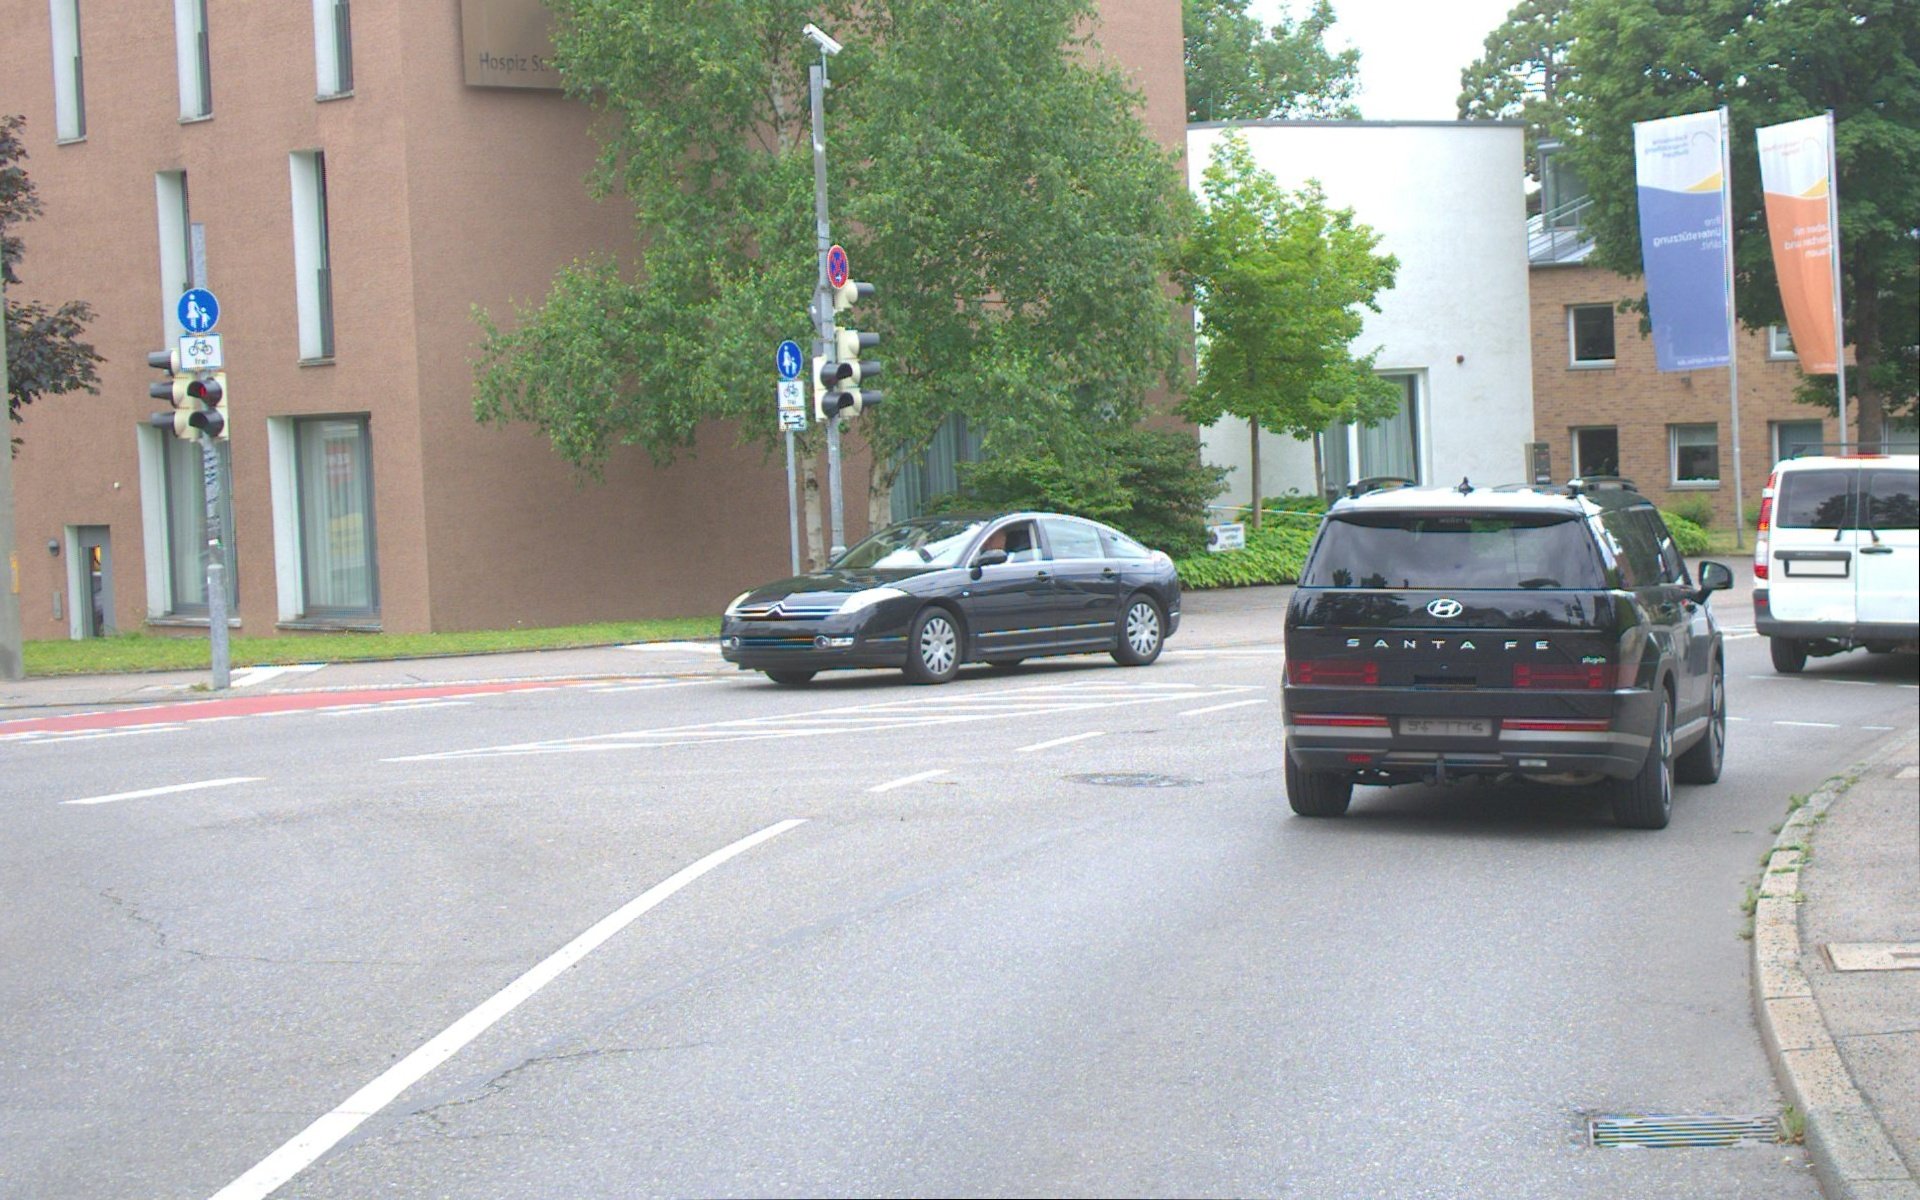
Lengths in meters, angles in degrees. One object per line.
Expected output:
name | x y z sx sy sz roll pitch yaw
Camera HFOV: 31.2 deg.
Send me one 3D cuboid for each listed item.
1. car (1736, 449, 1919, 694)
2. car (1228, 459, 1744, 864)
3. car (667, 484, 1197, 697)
car | 8.461 -0.322 30.434 1.965 2.006 4.421 2 3 28
car | 2.909 0.218 18.267 1.995 1.875 3.996 1 2 19
car | -0.159 -0.128 30.429 1.998 1.652 4.774 -1 2 41
